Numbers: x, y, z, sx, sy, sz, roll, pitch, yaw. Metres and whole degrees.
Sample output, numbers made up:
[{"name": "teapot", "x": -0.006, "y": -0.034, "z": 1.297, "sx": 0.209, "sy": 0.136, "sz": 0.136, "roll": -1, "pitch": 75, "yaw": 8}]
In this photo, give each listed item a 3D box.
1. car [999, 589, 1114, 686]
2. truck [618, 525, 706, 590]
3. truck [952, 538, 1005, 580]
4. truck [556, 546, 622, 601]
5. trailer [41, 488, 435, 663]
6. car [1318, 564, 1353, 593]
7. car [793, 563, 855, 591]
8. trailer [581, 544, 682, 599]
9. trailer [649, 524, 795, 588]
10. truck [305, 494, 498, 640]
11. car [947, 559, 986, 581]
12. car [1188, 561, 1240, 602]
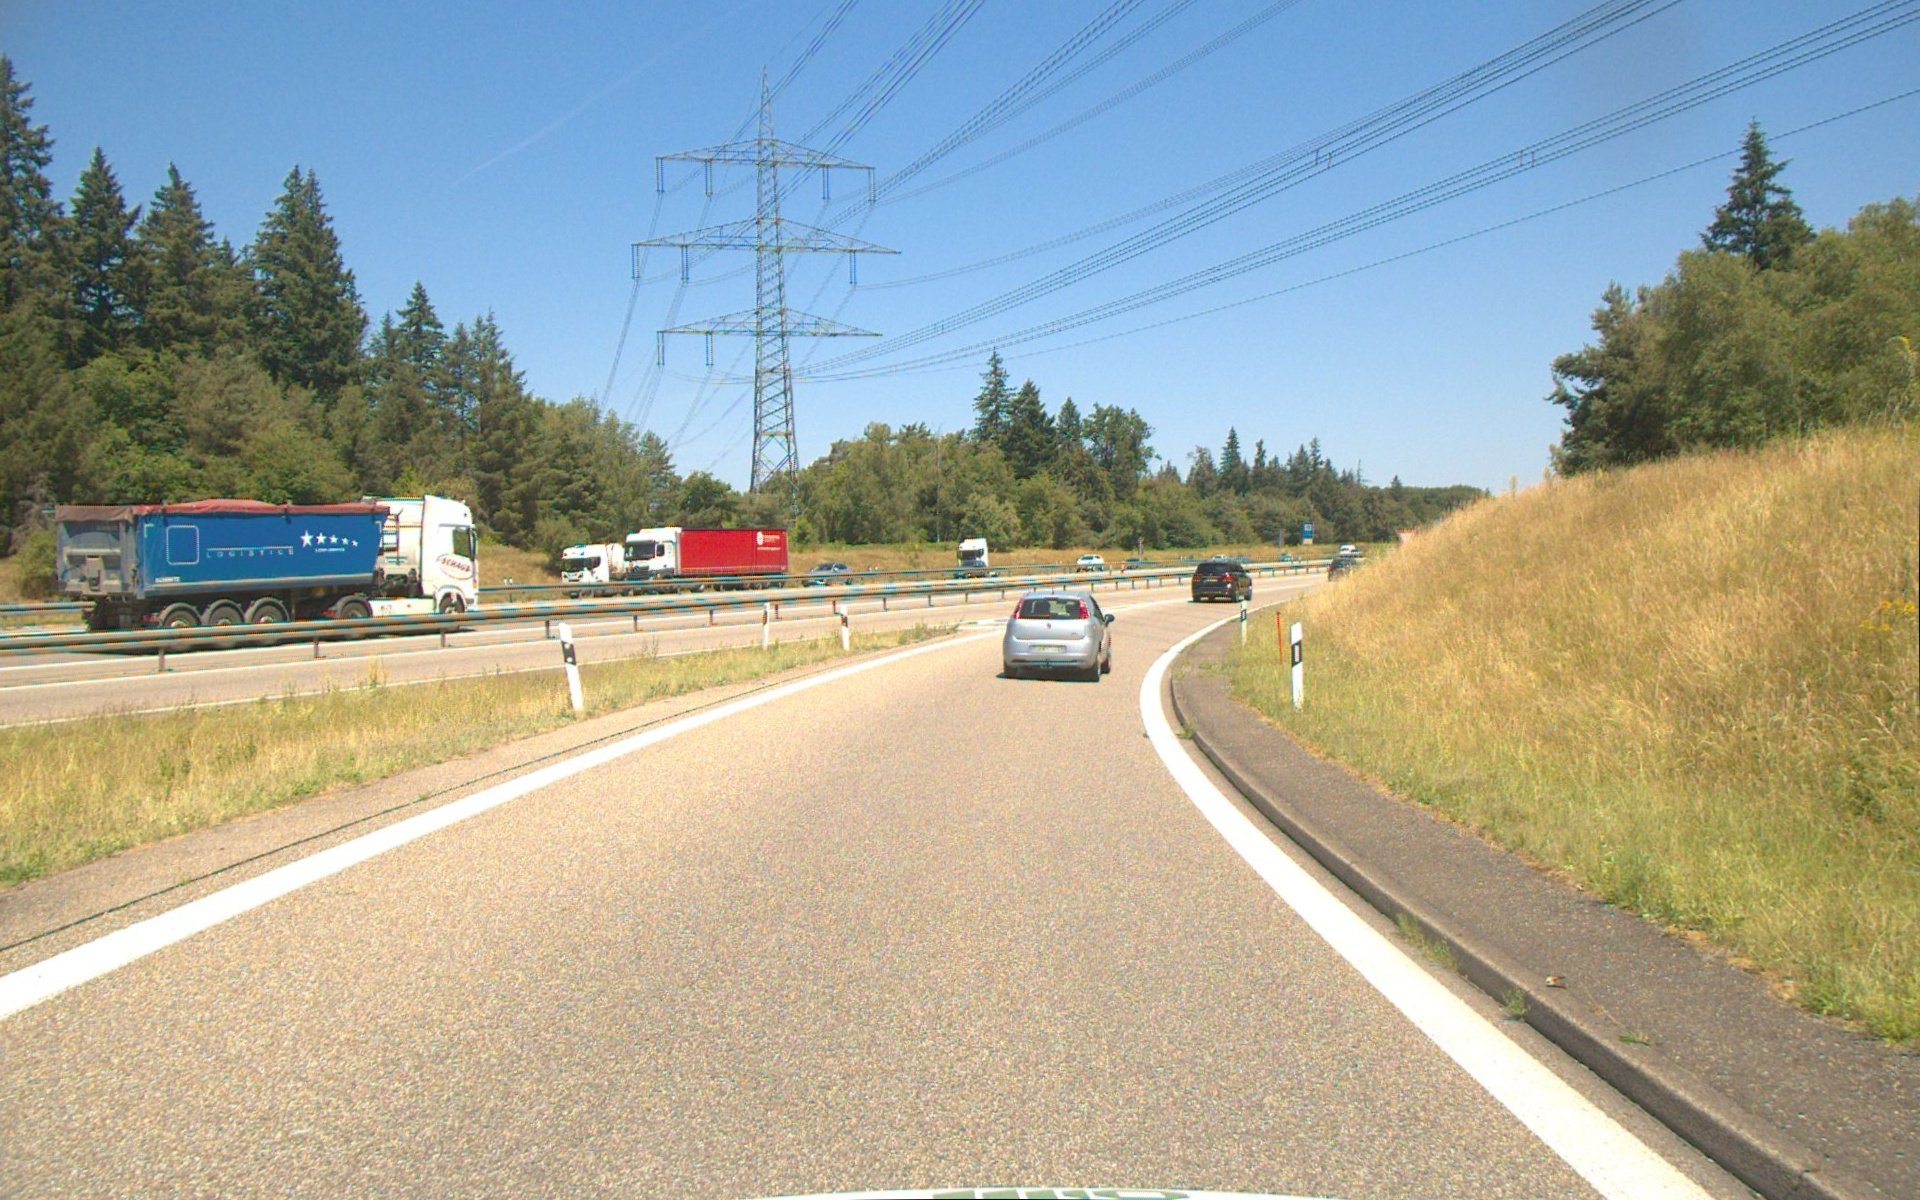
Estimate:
[{"name": "car", "x": 1.736, "y": 0.604, "z": 28.896, "sx": 1.670, "sy": 1.507, "sz": 3.401, "roll": 2, "pitch": 1, "yaw": 8}, {"name": "truck", "x": -18.469, "y": -2.680, "z": 102.826, "sx": 2.491, "sy": 3.863, "sz": 5.666, "roll": 0, "pitch": 2, "yaw": 25}, {"name": "truck", "x": 2.034, "y": -4.321, "z": 176.814, "sx": 2.803, "sy": 4.421, "sz": 7.526, "roll": 0, "pitch": 0, "yaw": 25}, {"name": "truck", "x": -26.928, "y": -1.950, "z": 120.173, "sx": 2.712, "sy": 3.863, "sz": 3.999, "roll": 0, "pitch": 2, "yaw": 25}, {"name": "trailer", "x": -17.757, "y": -0.751, "z": 41.775, "sx": 2.715, "sy": 3.873, "sz": 9.884, "roll": 0, "pitch": 2, "yaw": 23}, {"name": "car", "x": 24.158, "y": -1.374, "z": 106.292, "sx": 1.842, "sy": 1.713, "sz": 4.003, "roll": -3, "pitch": 1, "yaw": 17}, {"name": "car", "x": -8.683, "y": -1.475, "z": 106.000, "sx": 1.737, "sy": 1.713, "sz": 4.820, "roll": 0, "pitch": 0, "yaw": 27}, {"name": "trailer", "x": -24.739, "y": -2.202, "z": 124.997, "sx": 2.717, "sy": 3.863, "sz": 8.933, "roll": 0, "pitch": 2, "yaw": 25}, {"name": "trailer", "x": -15.479, "y": -3.025, "z": 109.408, "sx": 2.491, "sy": 3.863, "sz": 13.736, "roll": 0, "pitch": 3, "yaw": 25}, {"name": "truck", "x": -15.663, "y": -0.972, "z": 46.688, "sx": 2.701, "sy": 3.873, "sz": 4.621, "roll": 0, "pitch": 2, "yaw": 23}, {"name": "car", "x": 0.546, "y": -2.468, "z": 136.396, "sx": 1.737, "sy": 1.713, "sz": 3.686, "roll": 0, "pitch": 0, "yaw": 27}, {"name": "car", "x": 10.777, "y": -0.781, "z": 70.105, "sx": 1.670, "sy": 1.705, "sz": 3.399, "roll": 0, "pitch": 0, "yaw": 17}]
